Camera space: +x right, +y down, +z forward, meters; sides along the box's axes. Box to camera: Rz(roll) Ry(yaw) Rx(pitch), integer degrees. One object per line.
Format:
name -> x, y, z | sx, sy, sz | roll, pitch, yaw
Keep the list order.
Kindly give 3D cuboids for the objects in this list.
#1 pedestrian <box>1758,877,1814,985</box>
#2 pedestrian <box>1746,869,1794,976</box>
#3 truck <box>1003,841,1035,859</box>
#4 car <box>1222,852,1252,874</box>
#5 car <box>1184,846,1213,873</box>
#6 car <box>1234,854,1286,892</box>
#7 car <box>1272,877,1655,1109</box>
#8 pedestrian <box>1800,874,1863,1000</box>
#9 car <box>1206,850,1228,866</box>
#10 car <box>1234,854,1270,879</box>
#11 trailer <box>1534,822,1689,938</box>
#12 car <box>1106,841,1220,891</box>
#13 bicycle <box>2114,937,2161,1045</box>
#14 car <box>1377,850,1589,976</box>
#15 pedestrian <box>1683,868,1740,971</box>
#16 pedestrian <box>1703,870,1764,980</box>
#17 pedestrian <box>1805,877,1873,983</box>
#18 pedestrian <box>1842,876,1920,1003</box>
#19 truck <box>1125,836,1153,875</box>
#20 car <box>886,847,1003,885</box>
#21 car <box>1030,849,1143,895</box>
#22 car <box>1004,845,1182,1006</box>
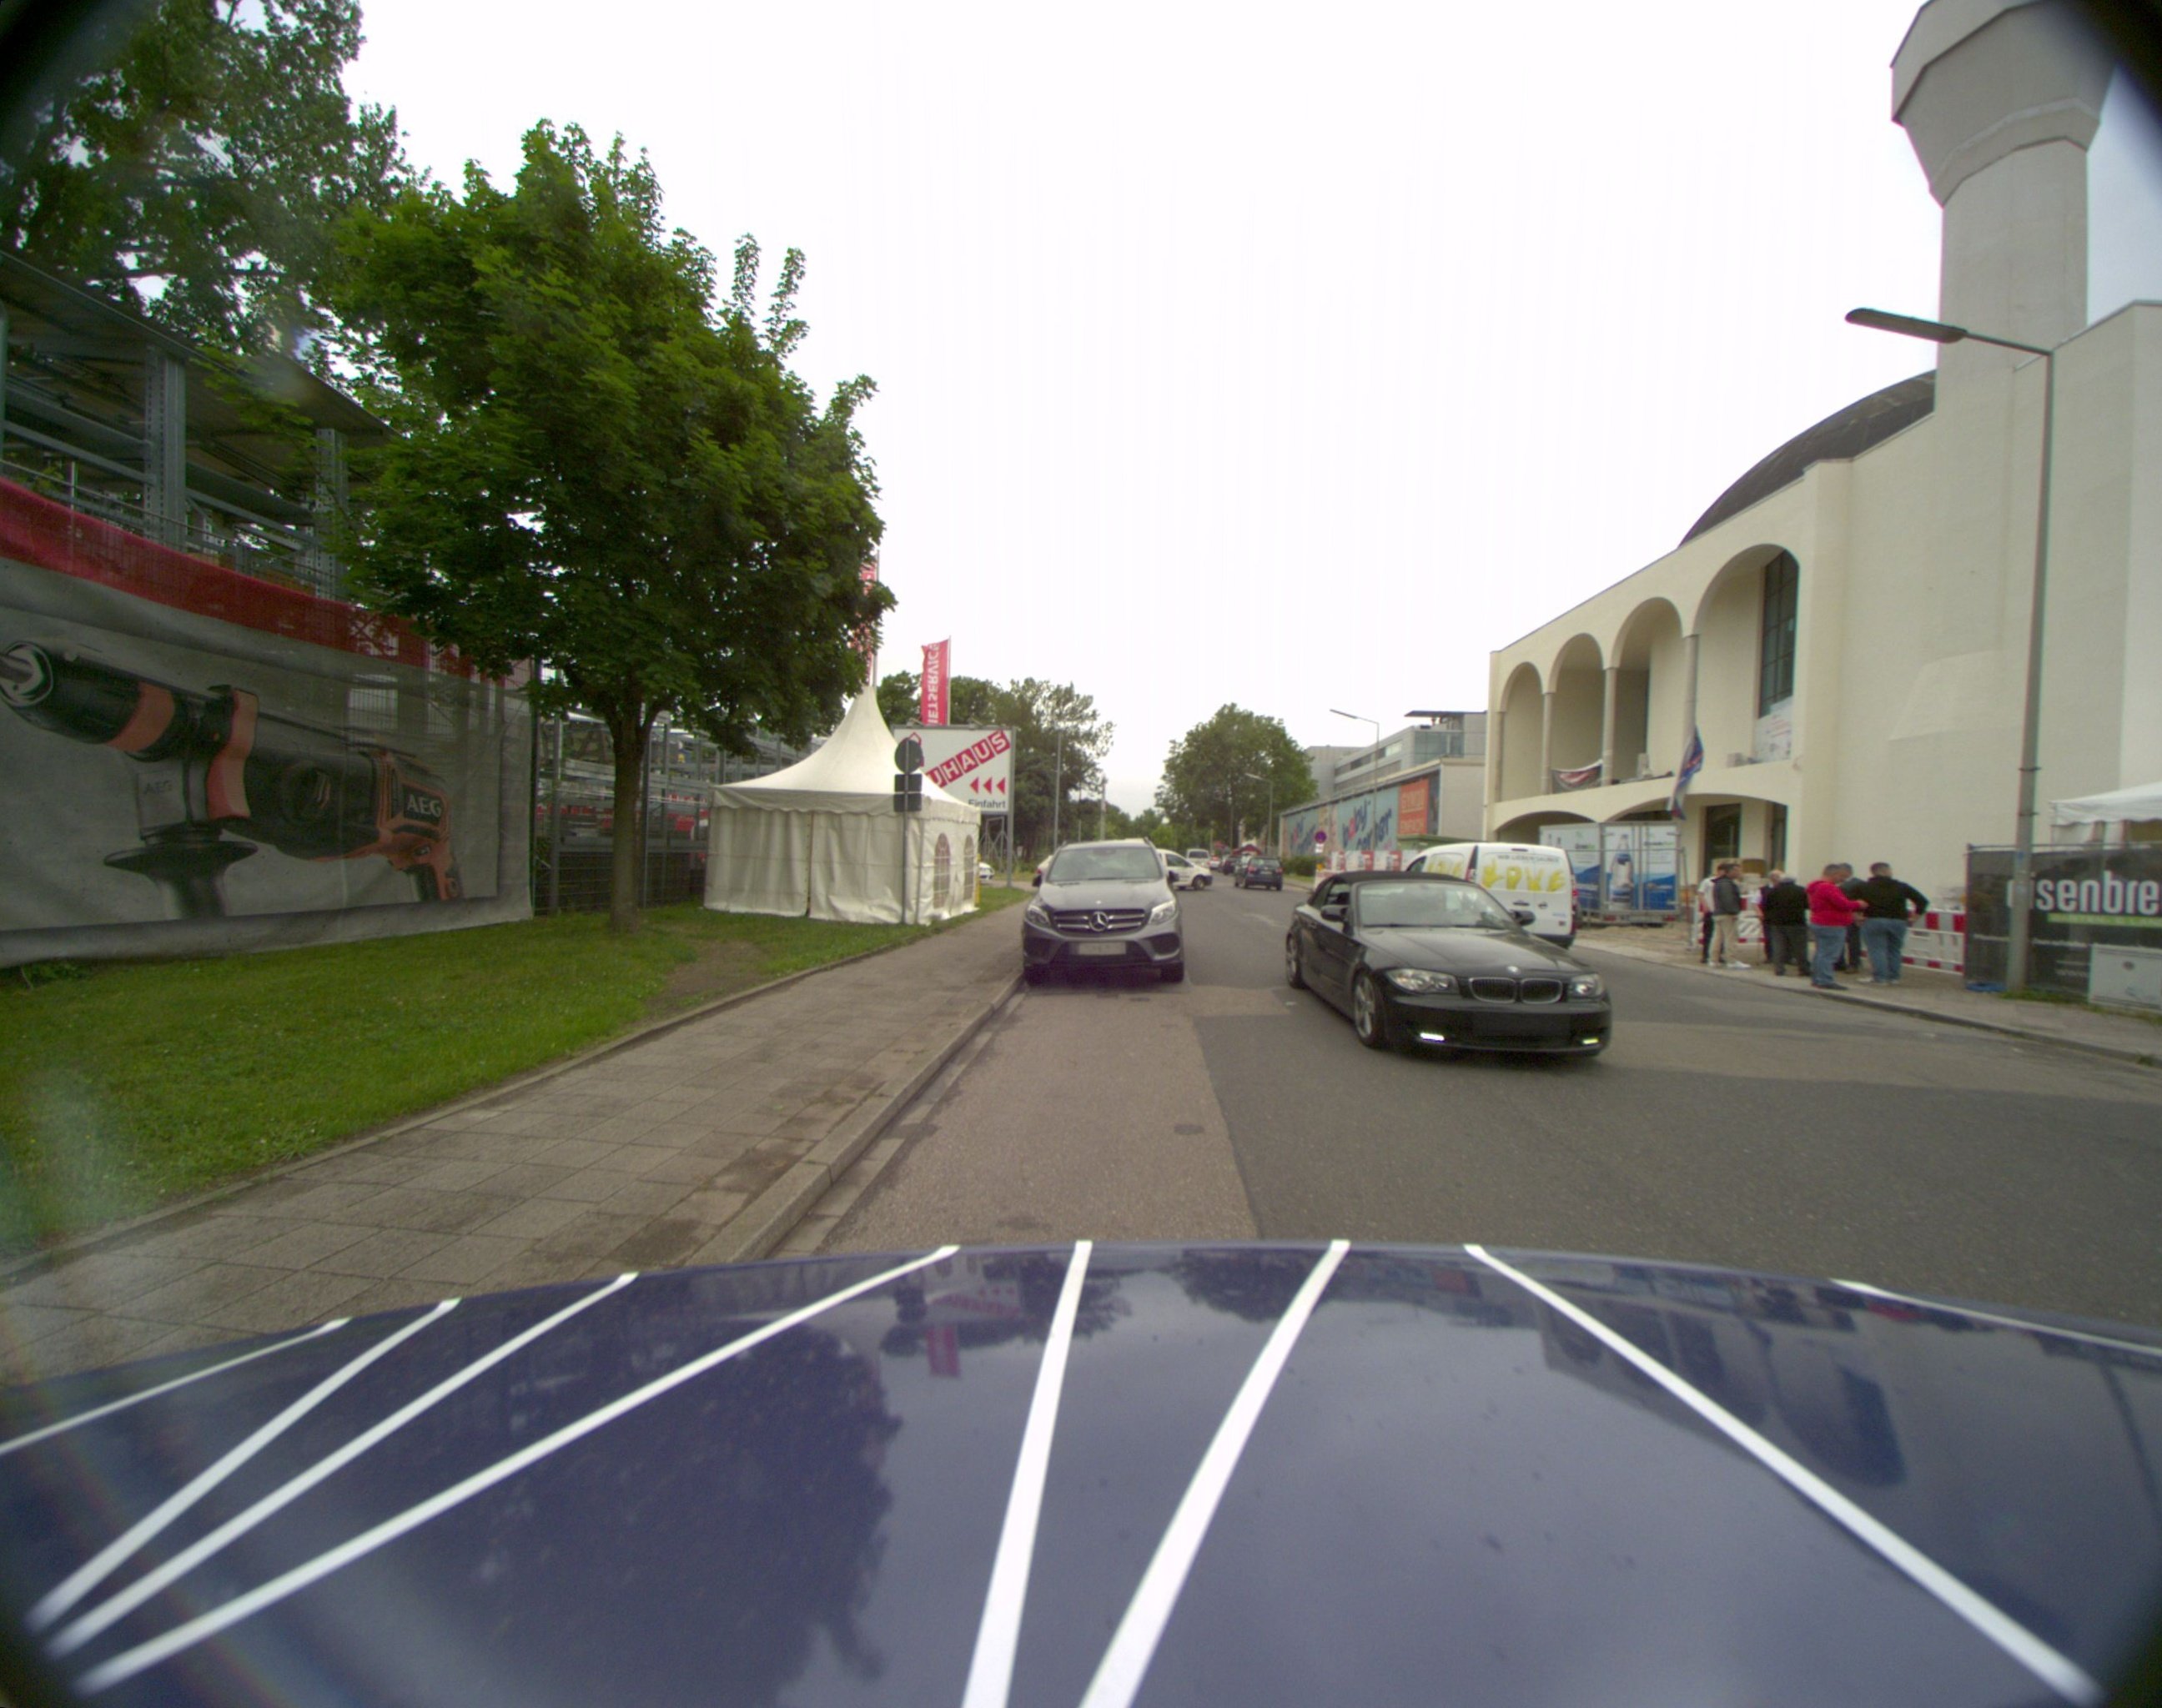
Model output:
pedestrian -> 10.957, 1.169, 11.816 | 0.570, 1.602, 0.492 | 3, 1, 44
pedestrian -> 11.606, 1.129, 12.798 | 0.527, 1.739, 0.492 | 3, 1, 44
truck -> -8.677, -0.539, 106.360 | 1.994, 2.383, 4.009 | 3, 1, 44
car -> 12.897, 0.705, 62.967 | 1.928, 1.565, 4.151 | 5, 1, 6
car -> 9.256, 0.399, 60.181 | 1.931, 2.002, 4.956 | 2, 1, 5
car -> 8.388, 0.831, 35.912 | 1.732, 1.562, 3.947 | 3, 1, 5
car -> 3.075, 0.995, 7.182 | 1.749, 1.351, 4.138 | 0, 1, 4
pedestrian -> 10.408, 1.128, 10.533 | 0.534, 1.682, 0.512 | 0, -2, -38
car -> 14.576, 0.389, 81.611 | 1.928, 1.565, 4.151 | 5, 1, 6
car -> 12.289, 0.850, 54.818 | 1.928, 1.565, 4.151 | 5, 1, 6
trailer -> 13.055, 0.582, 18.933 | 1.801, 2.592, 3.193 | 2, 1, 8
car -> 3.483, 0.490, 32.385 | 4.387, 1.797, 1.797 | 4, 1, -17
bicycle -> 11.410, 1.462, 7.320 | 0.545, 1.071, 1.902 | 2, 1, 11
car -> 6.567, 0.836, 12.988 | 1.693, 1.751, 4.136 | 2, 1, 5
pedestrian -> 11.182, 1.140, 13.479 | 0.689, 1.739, 0.492 | 3, 1, 44
pedestrian -> 10.856, 1.154, 12.645 | 0.689, 1.739, 0.492 | 3, 1, 44
pedestrian -> 11.903, 1.175, 11.942 | 0.540, 1.602, 0.491 | 0, 2, 10
pedestrian -> 11.396, 1.179, 10.822 | 0.689, 1.707, 0.694 | 0, -2, -41
truck -> 4.034, 0.087, 52.953 | 1.852, 2.597, 4.001 | -1, 1, 4
car -> -5.727, 0.472, 32.091 | 4.489, 1.420, 1.940 | 1, 2, 7
car -> 0.196, 0.611, 27.500 | 3.680, 1.575, 1.780 | 0, 1, 24
car -> 0.329, 0.777, 10.546 | 1.912, 1.731, 4.481 | -1, 0, 5
